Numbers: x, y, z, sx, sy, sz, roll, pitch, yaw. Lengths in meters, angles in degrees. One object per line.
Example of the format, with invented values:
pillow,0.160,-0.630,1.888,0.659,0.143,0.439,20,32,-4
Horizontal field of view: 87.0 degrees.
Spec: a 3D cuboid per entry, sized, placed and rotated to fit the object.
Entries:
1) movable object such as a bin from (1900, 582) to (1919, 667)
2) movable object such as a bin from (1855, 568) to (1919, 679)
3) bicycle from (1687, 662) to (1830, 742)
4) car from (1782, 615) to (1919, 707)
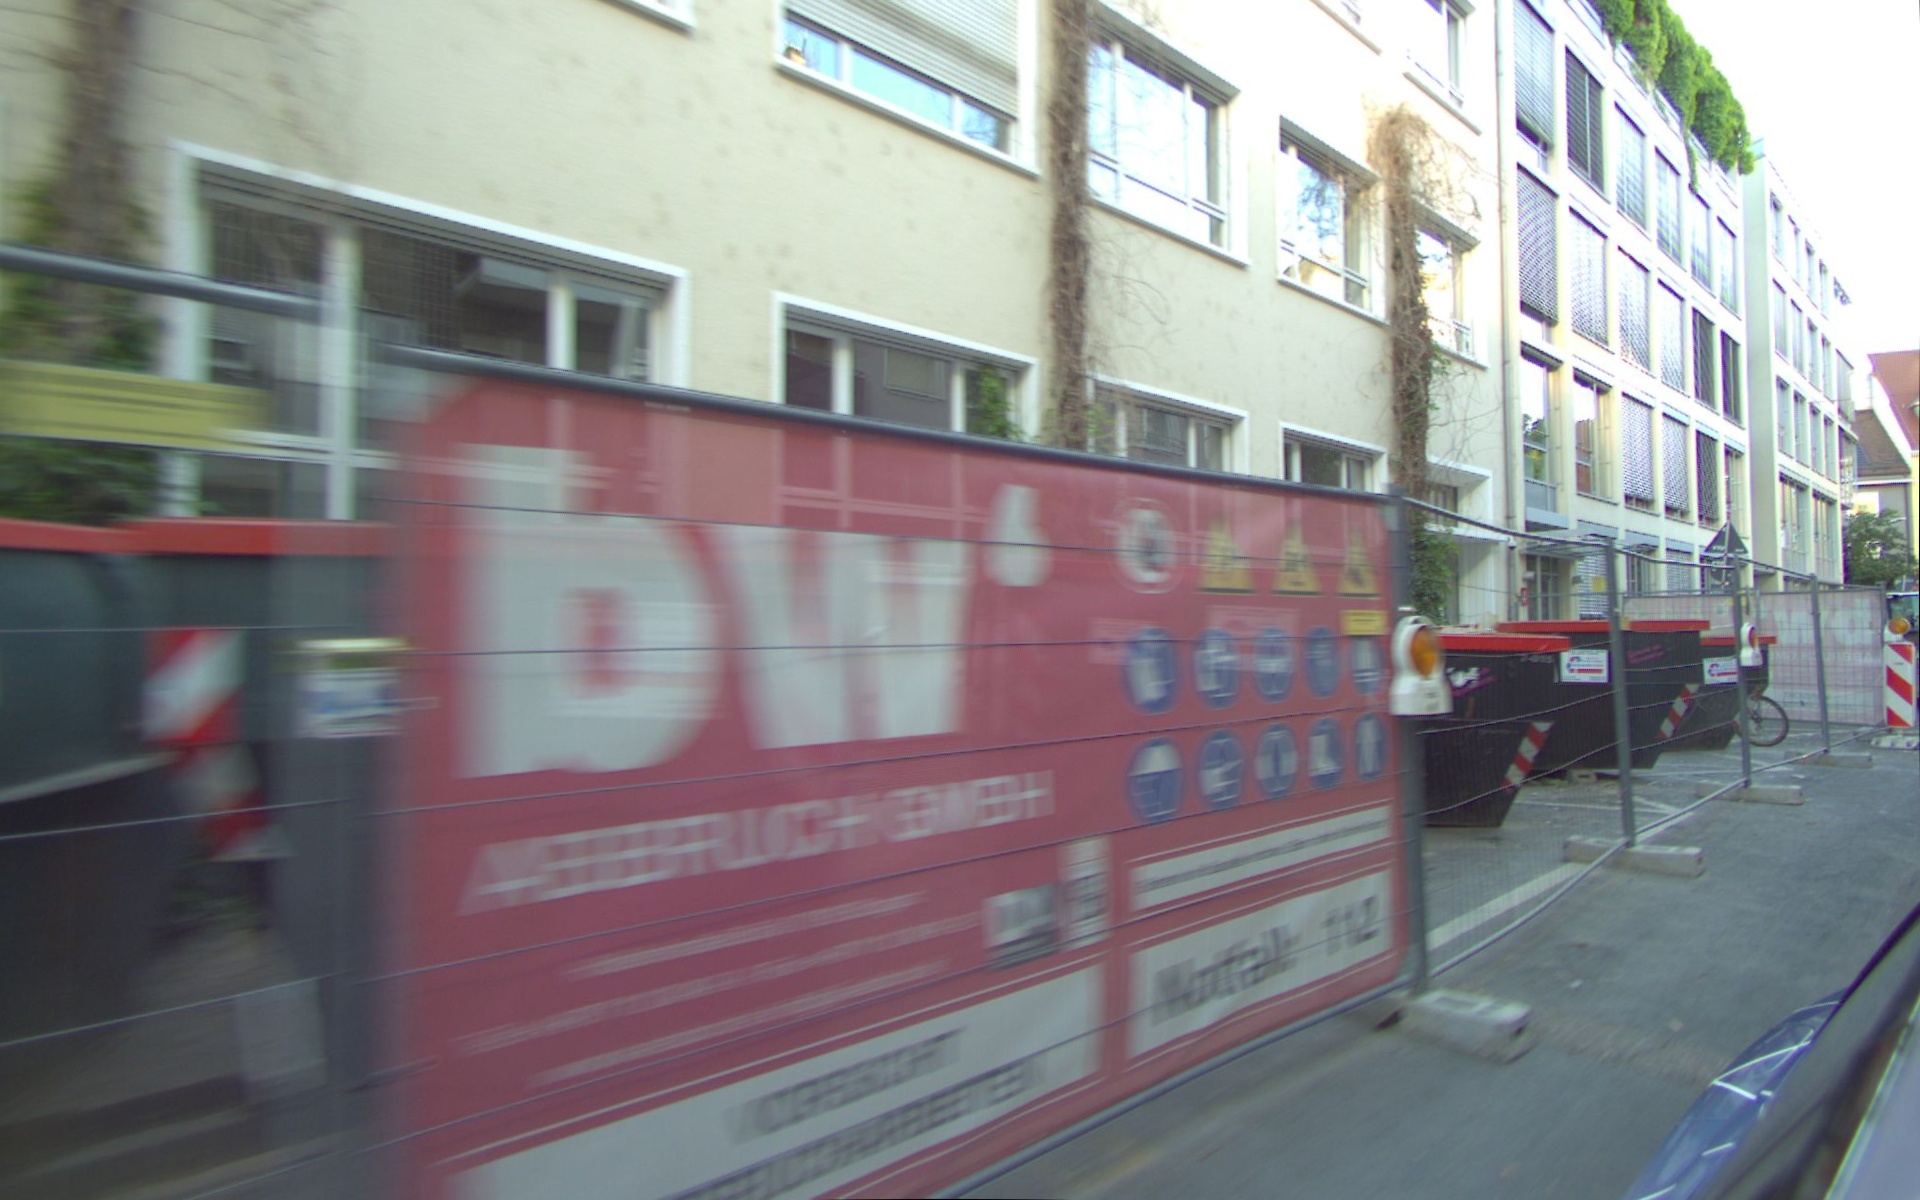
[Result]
movable object such as a bin,32.475,0.745,32.937,5.649,2.658,2.018,1,-4,-41
movable object such as a bin,24.938,0.624,26.028,5.649,2.658,2.018,2,-5,-41
bicycle,10.268,1.284,13.101,0.451,0.920,1.805,0,-2,3
car,16.599,1.053,18.413,4.368,1.491,1.789,1,-4,-42
